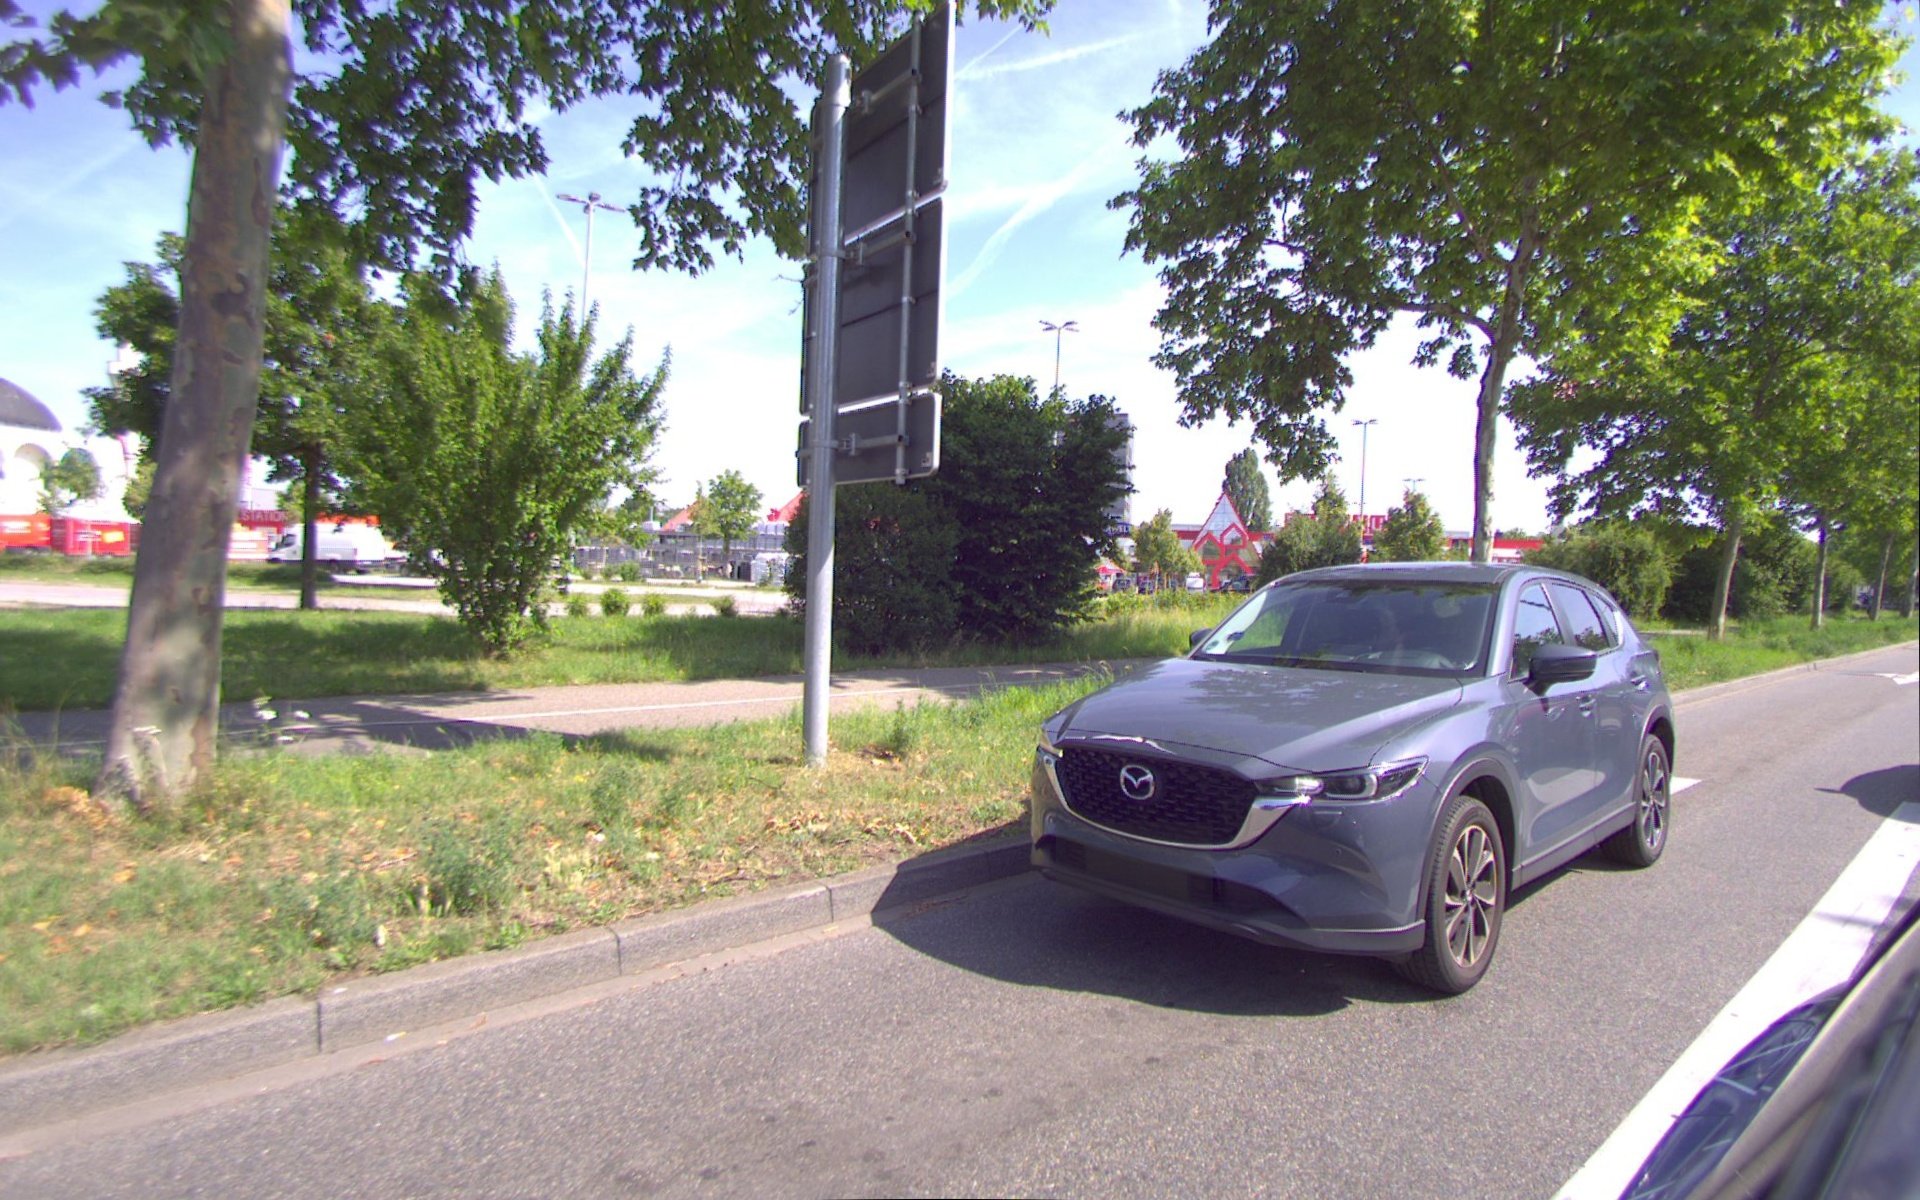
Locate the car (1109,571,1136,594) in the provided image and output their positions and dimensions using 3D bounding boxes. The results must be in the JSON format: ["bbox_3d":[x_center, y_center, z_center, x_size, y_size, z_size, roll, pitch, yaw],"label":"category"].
[{"bbox_3d":[11.862,-1.289,73.926,1.664,1.593,3.986,2,2,13],"label":"car"}]

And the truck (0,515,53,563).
[{"bbox_3d":[-55.100,-3.502,56.986,1.987,2.642,6.012,2,1,10],"label":"truck"}]

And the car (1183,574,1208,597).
[{"bbox_3d":[16.813,-1.056,72.322,1.664,1.593,3.986,2,2,13],"label":"car"}]

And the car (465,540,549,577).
[{"bbox_3d":[-25.473,-2.285,57.101,1.845,1.838,4.816,3,1,11],"label":"car"}]

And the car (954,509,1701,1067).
[{"bbox_3d":[2.196,0.552,5.198,4.419,1.680,1.768,0,0,-42],"label":"car"}]

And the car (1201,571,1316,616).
[{"bbox_3d":[11.552,-0.282,39.321,3.849,1.604,1.821,3,2,43],"label":"car"}]

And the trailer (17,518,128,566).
[{"bbox_3d":[-49.373,-3.198,56.434,1.728,2.406,4.389,3,1,16],"label":"trailer"}]

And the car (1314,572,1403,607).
[{"bbox_3d":[19.889,-0.571,50.639,3.801,1.604,1.844,2,2,11],"label":"car"}]

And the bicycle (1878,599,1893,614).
[{"bbox_3d":[80.081,0.590,87.578,1.900,1.252,0.686,0,2,-41],"label":"bicycle"}]

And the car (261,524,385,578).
[{"bbox_3d":[-32.883,-2.559,52.319,5.600,2.572,2.014,2,3,12],"label":"car"}]

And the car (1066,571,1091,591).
[{"bbox_3d":[10.079,-1.643,86.129,1.664,1.593,3.986,2,2,13],"label":"car"}]

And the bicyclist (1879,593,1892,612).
[{"bbox_3d":[80.104,0.234,87.581,0.985,1.651,0.686,0,2,-41],"label":"bicyclist"}]

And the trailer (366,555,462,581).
[{"bbox_3d":[-27.518,-1.646,51.073,3.974,1.135,2.061,2,4,15],"label":"trailer"}]
